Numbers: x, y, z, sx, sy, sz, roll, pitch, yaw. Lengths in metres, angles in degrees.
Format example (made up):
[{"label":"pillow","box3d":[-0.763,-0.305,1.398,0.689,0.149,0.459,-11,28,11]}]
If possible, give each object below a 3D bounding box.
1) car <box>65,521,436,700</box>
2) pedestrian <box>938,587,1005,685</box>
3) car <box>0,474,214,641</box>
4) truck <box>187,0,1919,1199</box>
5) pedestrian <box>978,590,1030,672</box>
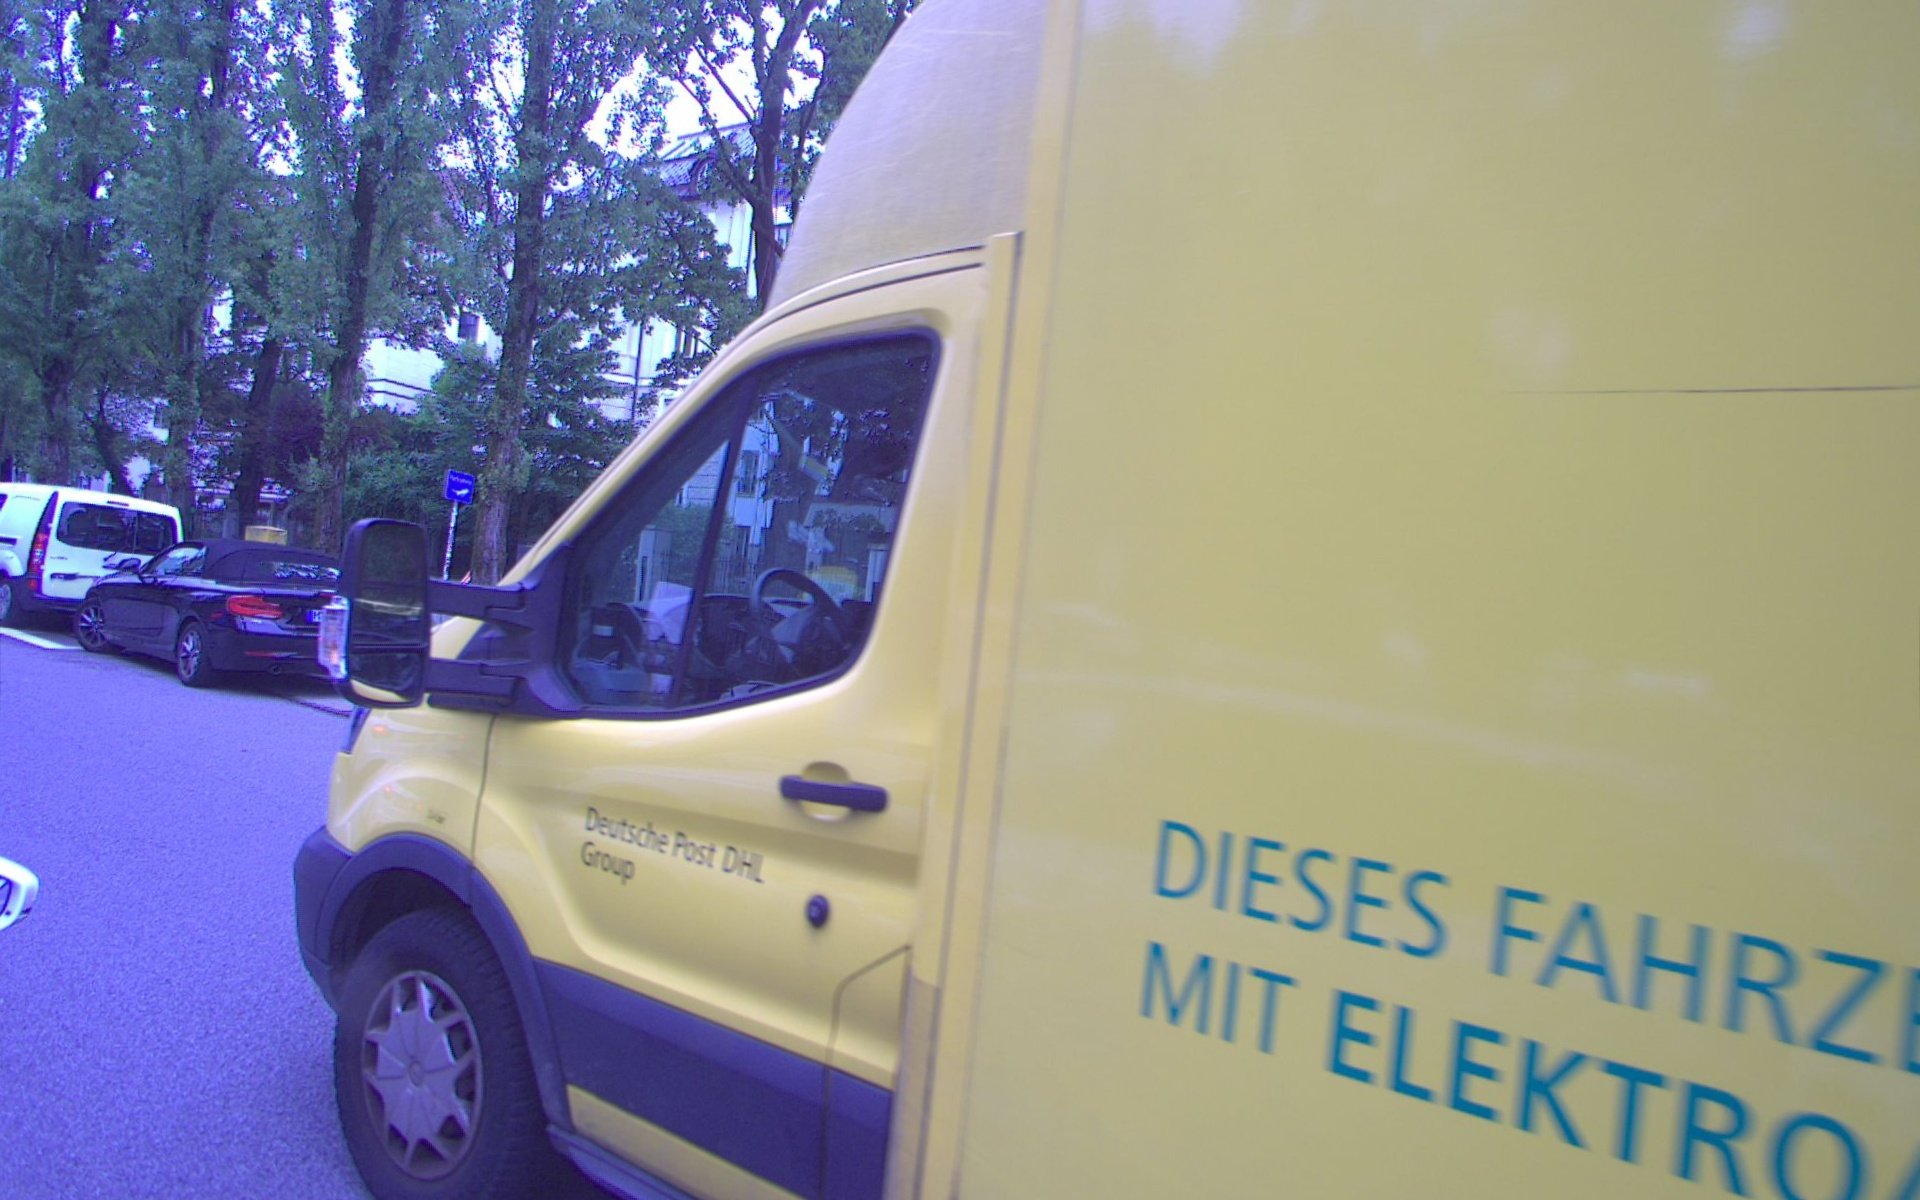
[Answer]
[{"label":"car","box3d":[-7.545,0.080,10.619,3.934,1.370,1.748,6,-1,32]},{"label":"pedestrian","box3d":[0.233,0.743,20.824,0.929,1.889,0.767,6,1,-30]},{"label":"car","box3d":[-12.219,-0.647,13.553,4.158,1.794,1.838,6,-2,30]},{"label":"truck","box3d":[1.844,0.260,1.775,7.208,2.934,2.331,6,0,30]},{"label":"pedestrian","box3d":[1.067,0.755,24.320,0.820,1.877,0.772,7,1,25]}]
